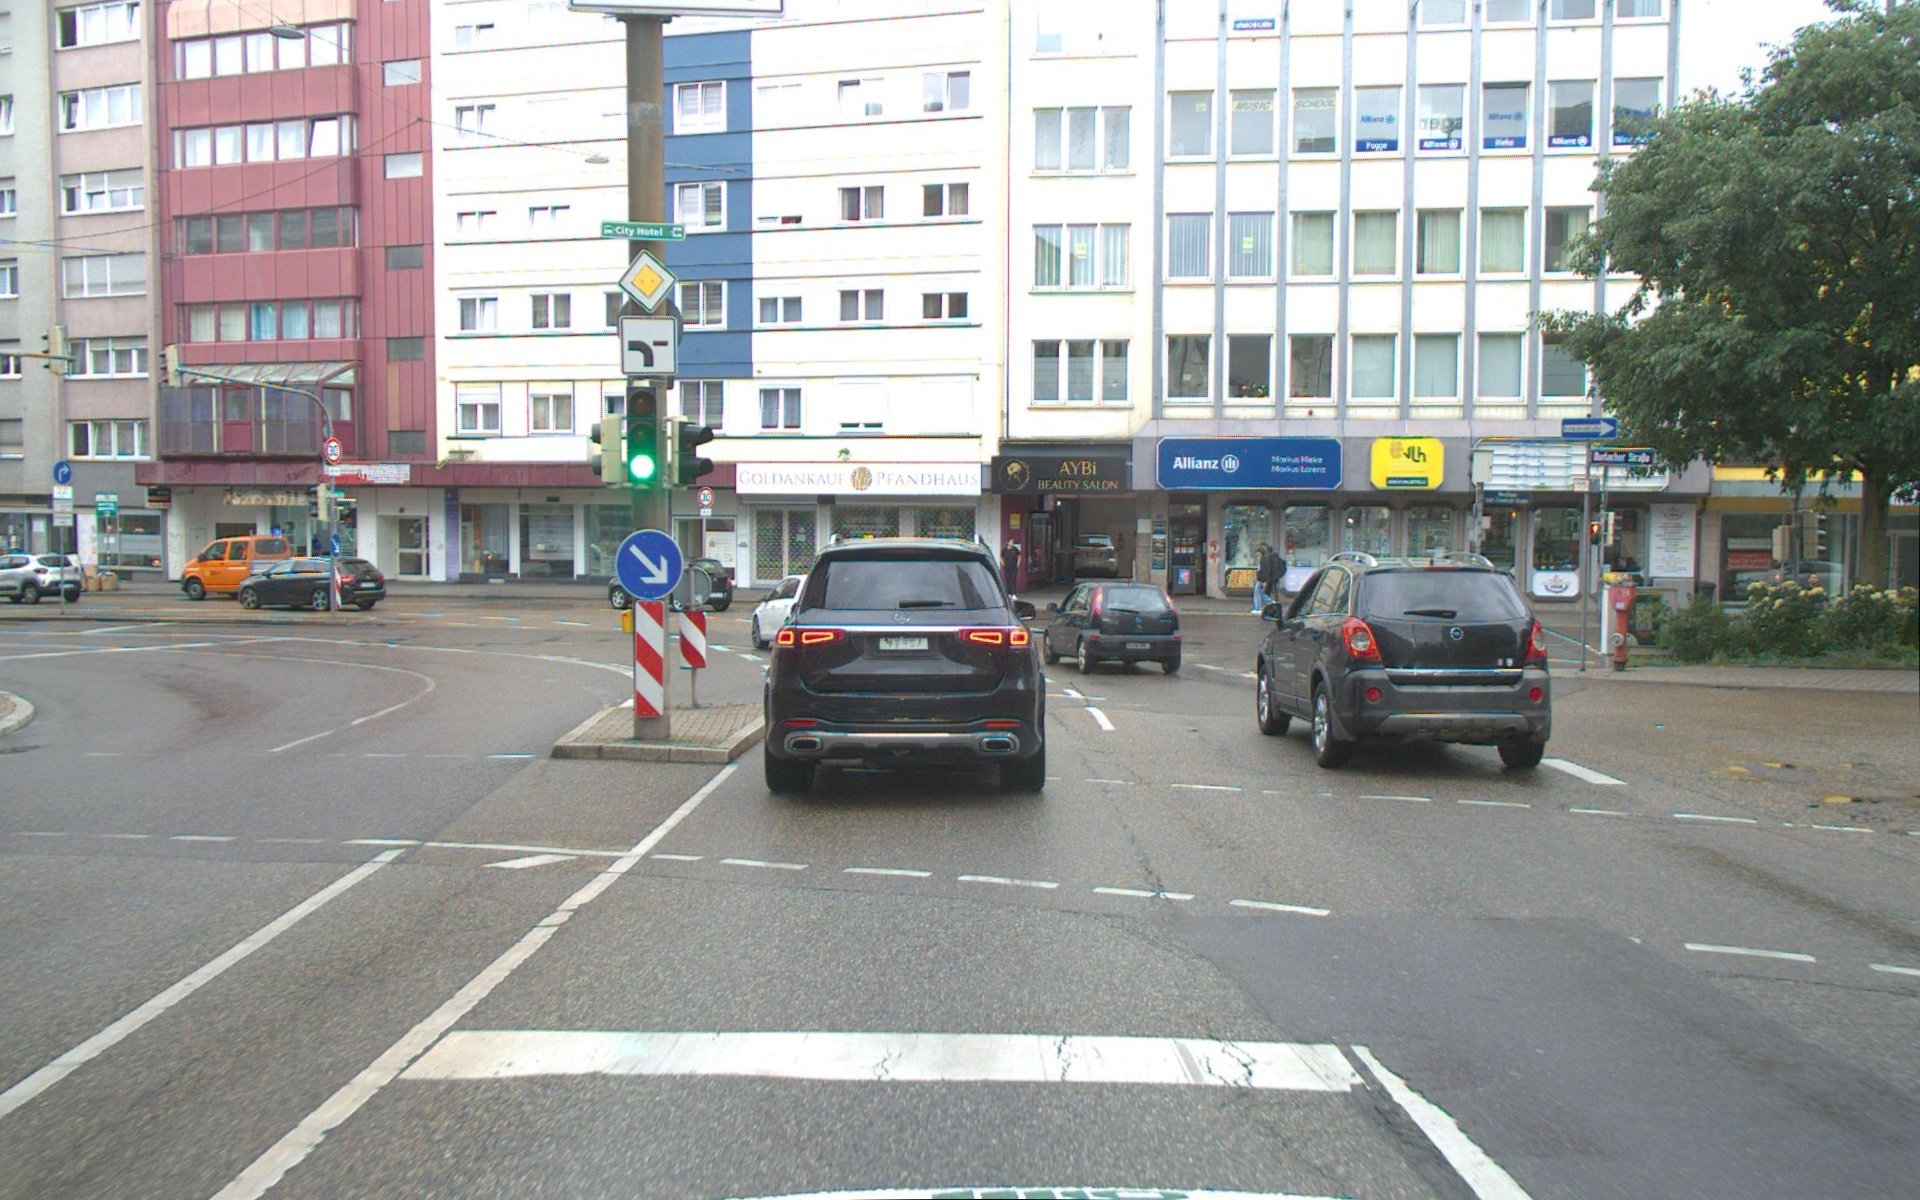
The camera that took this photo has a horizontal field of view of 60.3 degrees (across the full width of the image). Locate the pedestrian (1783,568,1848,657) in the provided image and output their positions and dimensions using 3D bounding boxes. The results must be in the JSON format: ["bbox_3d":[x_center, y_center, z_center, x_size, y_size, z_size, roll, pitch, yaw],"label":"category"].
[{"bbox_3d":[18.545,0.259,35.864,0.807,1.858,0.890,3,1,-6],"label":"pedestrian"}]

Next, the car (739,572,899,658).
[{"bbox_3d":[-2.794,0.241,31.859,1.847,1.521,4.371,1,0,-22],"label":"car"}]

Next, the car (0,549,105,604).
[{"bbox_3d":[-28.815,-0.745,50.835,4.552,1.542,1.931,2,-1,21],"label":"car"}]

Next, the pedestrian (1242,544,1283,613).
[{"bbox_3d":[8.380,-0.606,45.813,1.008,1.829,0.831,0,6,4],"label":"pedestrian"}]

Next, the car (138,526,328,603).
[{"bbox_3d":[-23.091,-1.110,52.561,5.297,2.267,2.251,2,0,18],"label":"car"}]

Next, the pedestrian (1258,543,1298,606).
[{"bbox_3d":[9.064,-0.734,47.209,1.008,1.717,0.831,0,6,4],"label":"pedestrian"}]

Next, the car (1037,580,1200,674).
[{"bbox_3d":[2.550,0.397,27.474,1.734,1.422,3.991,0,0,-9],"label":"car"}]

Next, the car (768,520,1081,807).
[{"bbox_3d":[-0.467,0.401,13.097,1.999,1.830,4.657,2,0,-6],"label":"car"}]

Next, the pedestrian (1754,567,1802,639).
[{"bbox_3d":[21.886,0.085,44.261,0.876,1.859,0.675,5,-2,-22],"label":"pedestrian"}]

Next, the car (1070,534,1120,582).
[{"bbox_3d":[4.916,-1.522,60.573,1.759,1.699,4.002,0,1,4],"label":"car"}]

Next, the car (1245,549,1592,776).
[{"bbox_3d":[3.868,0.442,14.805,1.858,1.724,4.505,0,1,0],"label":"car"}]

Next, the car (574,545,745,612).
[{"bbox_3d":[-8.257,-0.599,45.382,4.395,1.687,1.826,2,-1,28],"label":"car"}]

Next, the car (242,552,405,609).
[{"bbox_3d":[-17.673,-0.521,45.901,4.142,1.512,1.997,0,0,28],"label":"car"}]

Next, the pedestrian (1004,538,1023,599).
[{"bbox_3d":[1.574,-0.937,49.076,0.552,1.717,0.756,0,6,1],"label":"pedestrian"}]
